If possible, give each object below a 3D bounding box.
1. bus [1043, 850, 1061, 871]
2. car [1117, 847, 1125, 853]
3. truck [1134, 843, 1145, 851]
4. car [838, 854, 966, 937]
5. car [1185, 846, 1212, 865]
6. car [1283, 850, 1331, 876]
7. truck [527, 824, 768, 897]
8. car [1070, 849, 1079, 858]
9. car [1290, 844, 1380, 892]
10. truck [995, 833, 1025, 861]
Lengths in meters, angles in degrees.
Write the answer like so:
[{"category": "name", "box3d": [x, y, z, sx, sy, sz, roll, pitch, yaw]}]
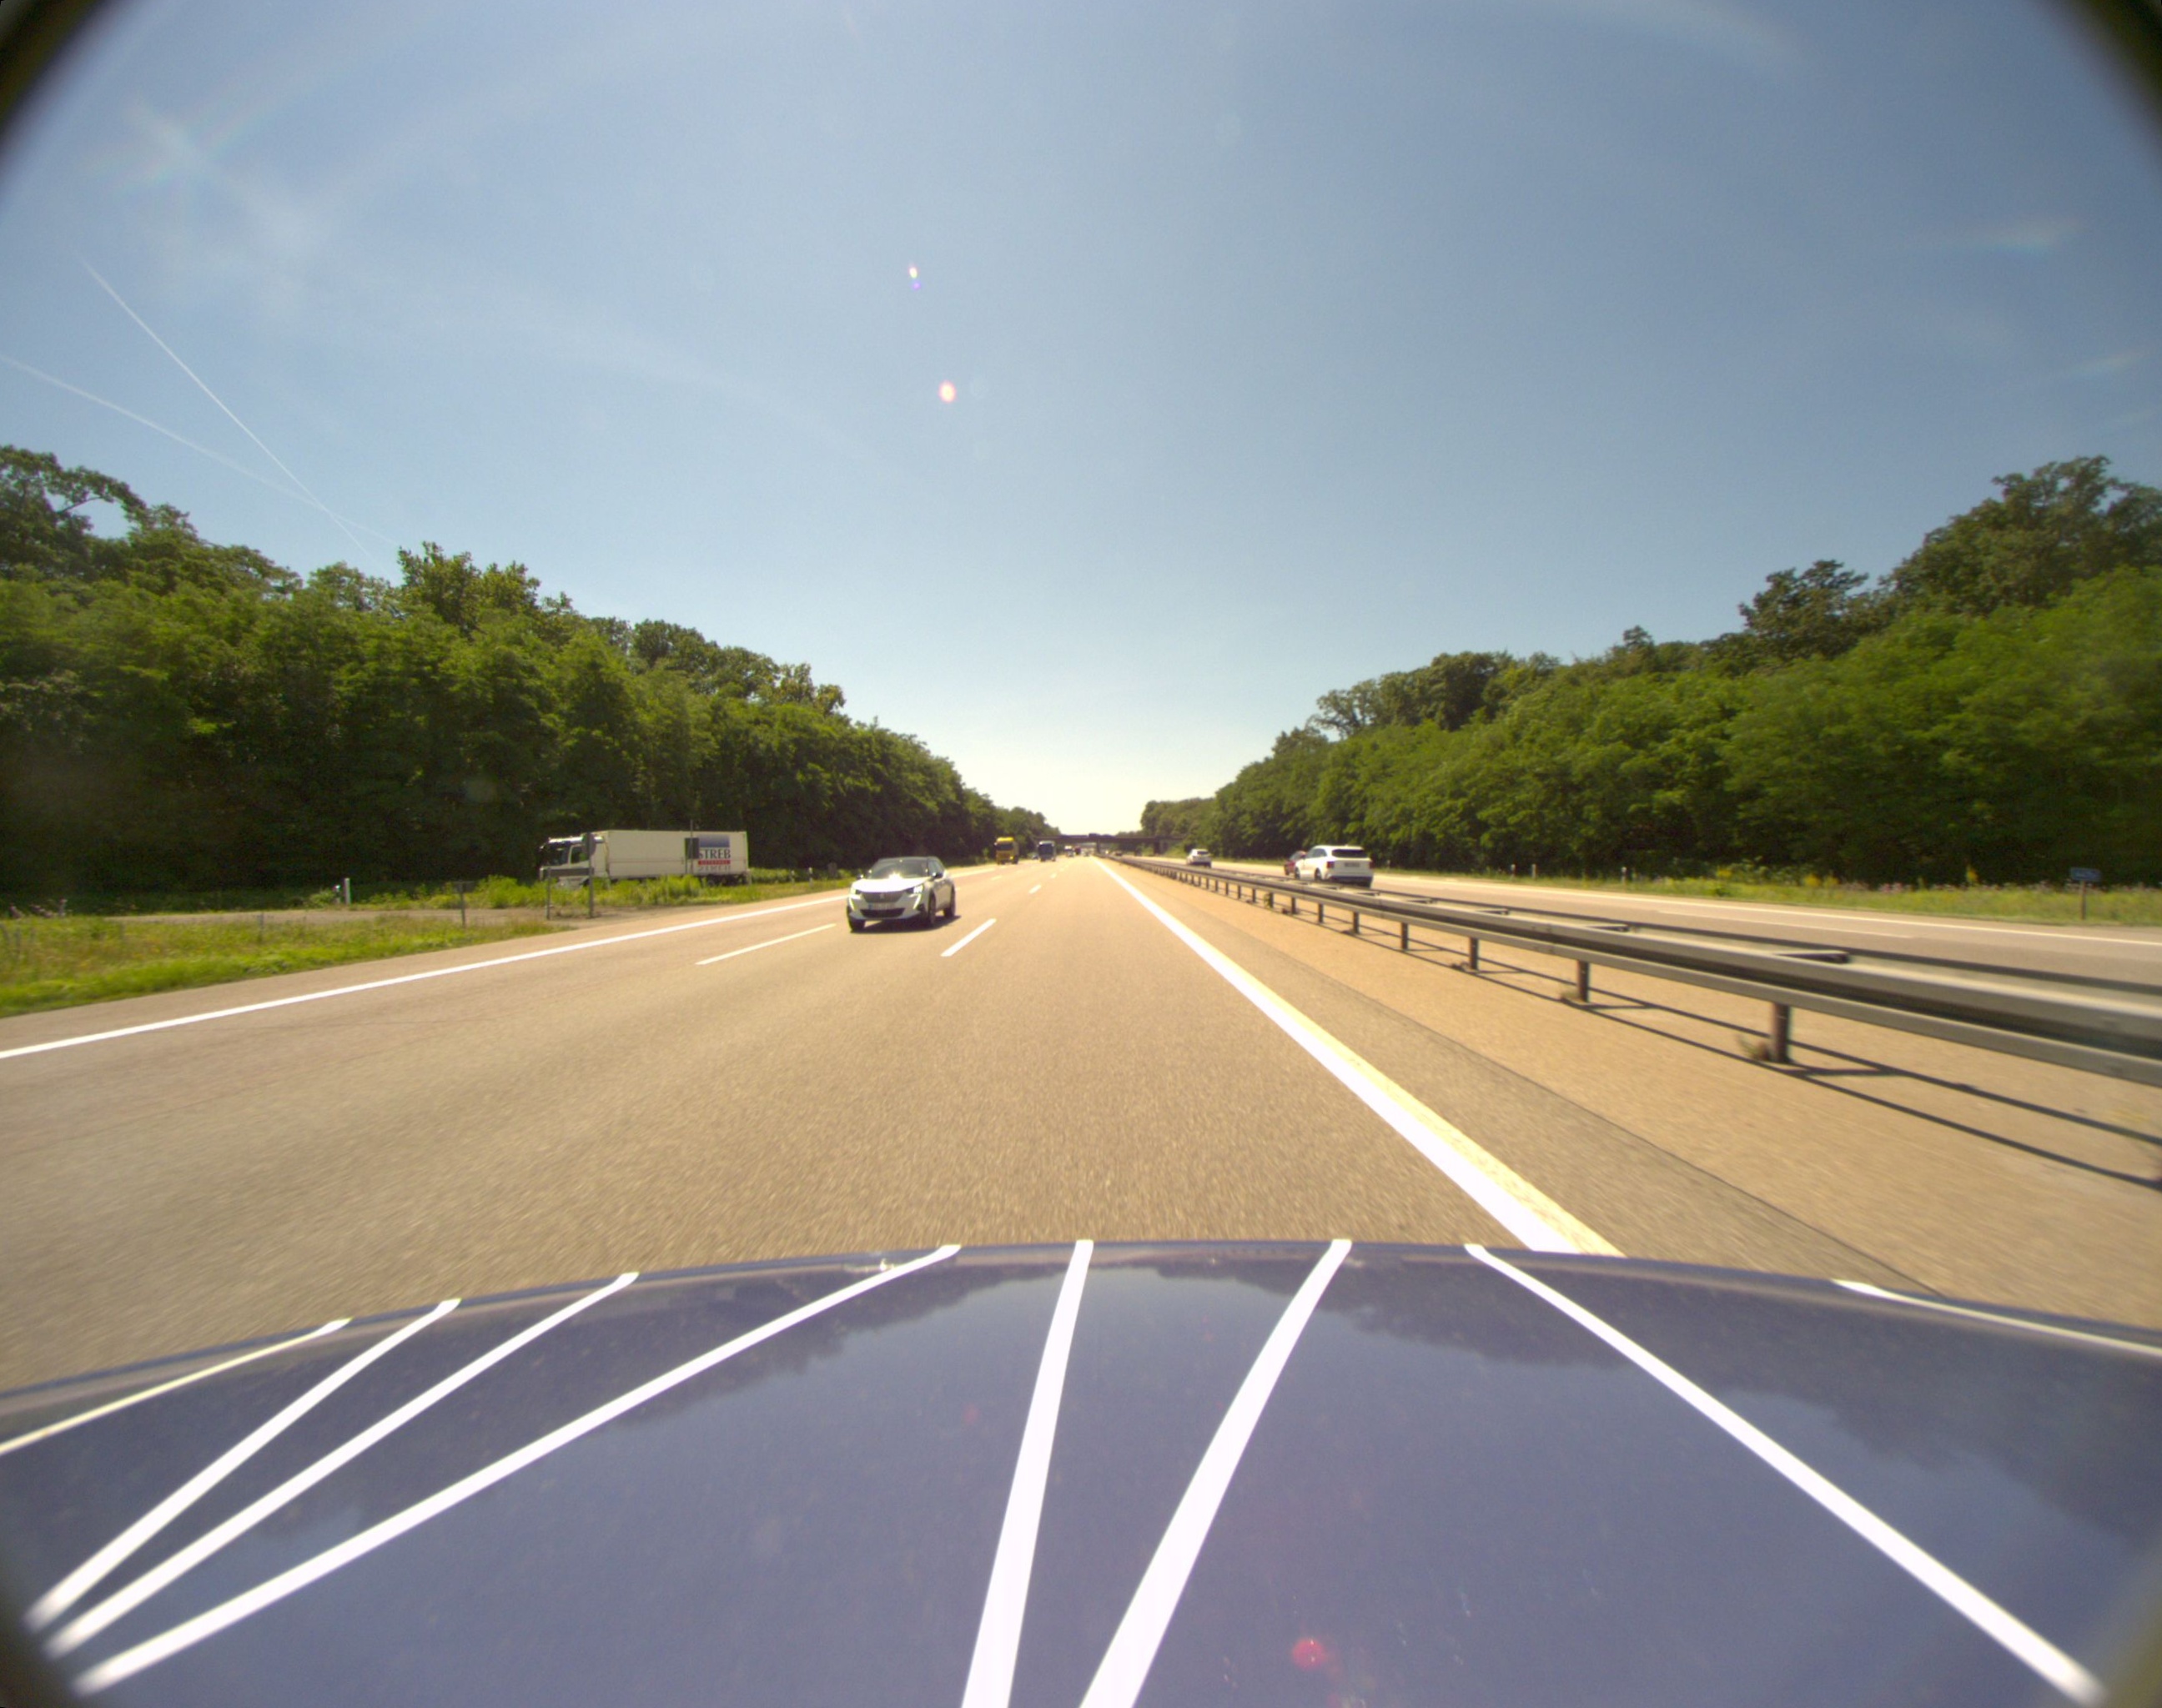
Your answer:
[{"category": "bus", "box3d": [-5.217, 1.119, 140.001, 2.617, 3.532, 13.681, -2, 1, 0]}, {"category": "car", "box3d": [12.087, -1.247, 230.337, 1.998, 1.952, 5.210, -2, 1, 0]}, {"category": "truck", "box3d": [20.223, -2.428, 263.892, 2.760, 2.973, 12.854, 0, 1, 0]}, {"category": "car", "box3d": [-4.038, 0.852, 18.028, 1.832, 1.599, 4.808, -2, 1, 0]}, {"category": "car", "box3d": [10.526, 0.120, 68.489, 1.767, 1.683, 4.818, -1, 1, 1]}, {"category": "car", "box3d": [13.838, 0.531, 46.670, 1.767, 1.486, 4.074, 1, 1, 1]}, {"category": "truck", "box3d": [-22.141, 0.192, 39.879, 3.030, 3.300, 10.789, -2, 1, 30]}, {"category": "car", "box3d": [-1.815, -0.222, 217.648, 2.616, 2.389, 7.122, -2, 1, 0]}, {"category": "car", "box3d": [9.688, 0.469, 29.396, 1.815, 1.683, 5.124, -1, 1, 1]}, {"category": "truck", "box3d": [-10.840, -1.071, 116.838, 2.982, 4.013, 10.981, -3, 1, 2]}]
